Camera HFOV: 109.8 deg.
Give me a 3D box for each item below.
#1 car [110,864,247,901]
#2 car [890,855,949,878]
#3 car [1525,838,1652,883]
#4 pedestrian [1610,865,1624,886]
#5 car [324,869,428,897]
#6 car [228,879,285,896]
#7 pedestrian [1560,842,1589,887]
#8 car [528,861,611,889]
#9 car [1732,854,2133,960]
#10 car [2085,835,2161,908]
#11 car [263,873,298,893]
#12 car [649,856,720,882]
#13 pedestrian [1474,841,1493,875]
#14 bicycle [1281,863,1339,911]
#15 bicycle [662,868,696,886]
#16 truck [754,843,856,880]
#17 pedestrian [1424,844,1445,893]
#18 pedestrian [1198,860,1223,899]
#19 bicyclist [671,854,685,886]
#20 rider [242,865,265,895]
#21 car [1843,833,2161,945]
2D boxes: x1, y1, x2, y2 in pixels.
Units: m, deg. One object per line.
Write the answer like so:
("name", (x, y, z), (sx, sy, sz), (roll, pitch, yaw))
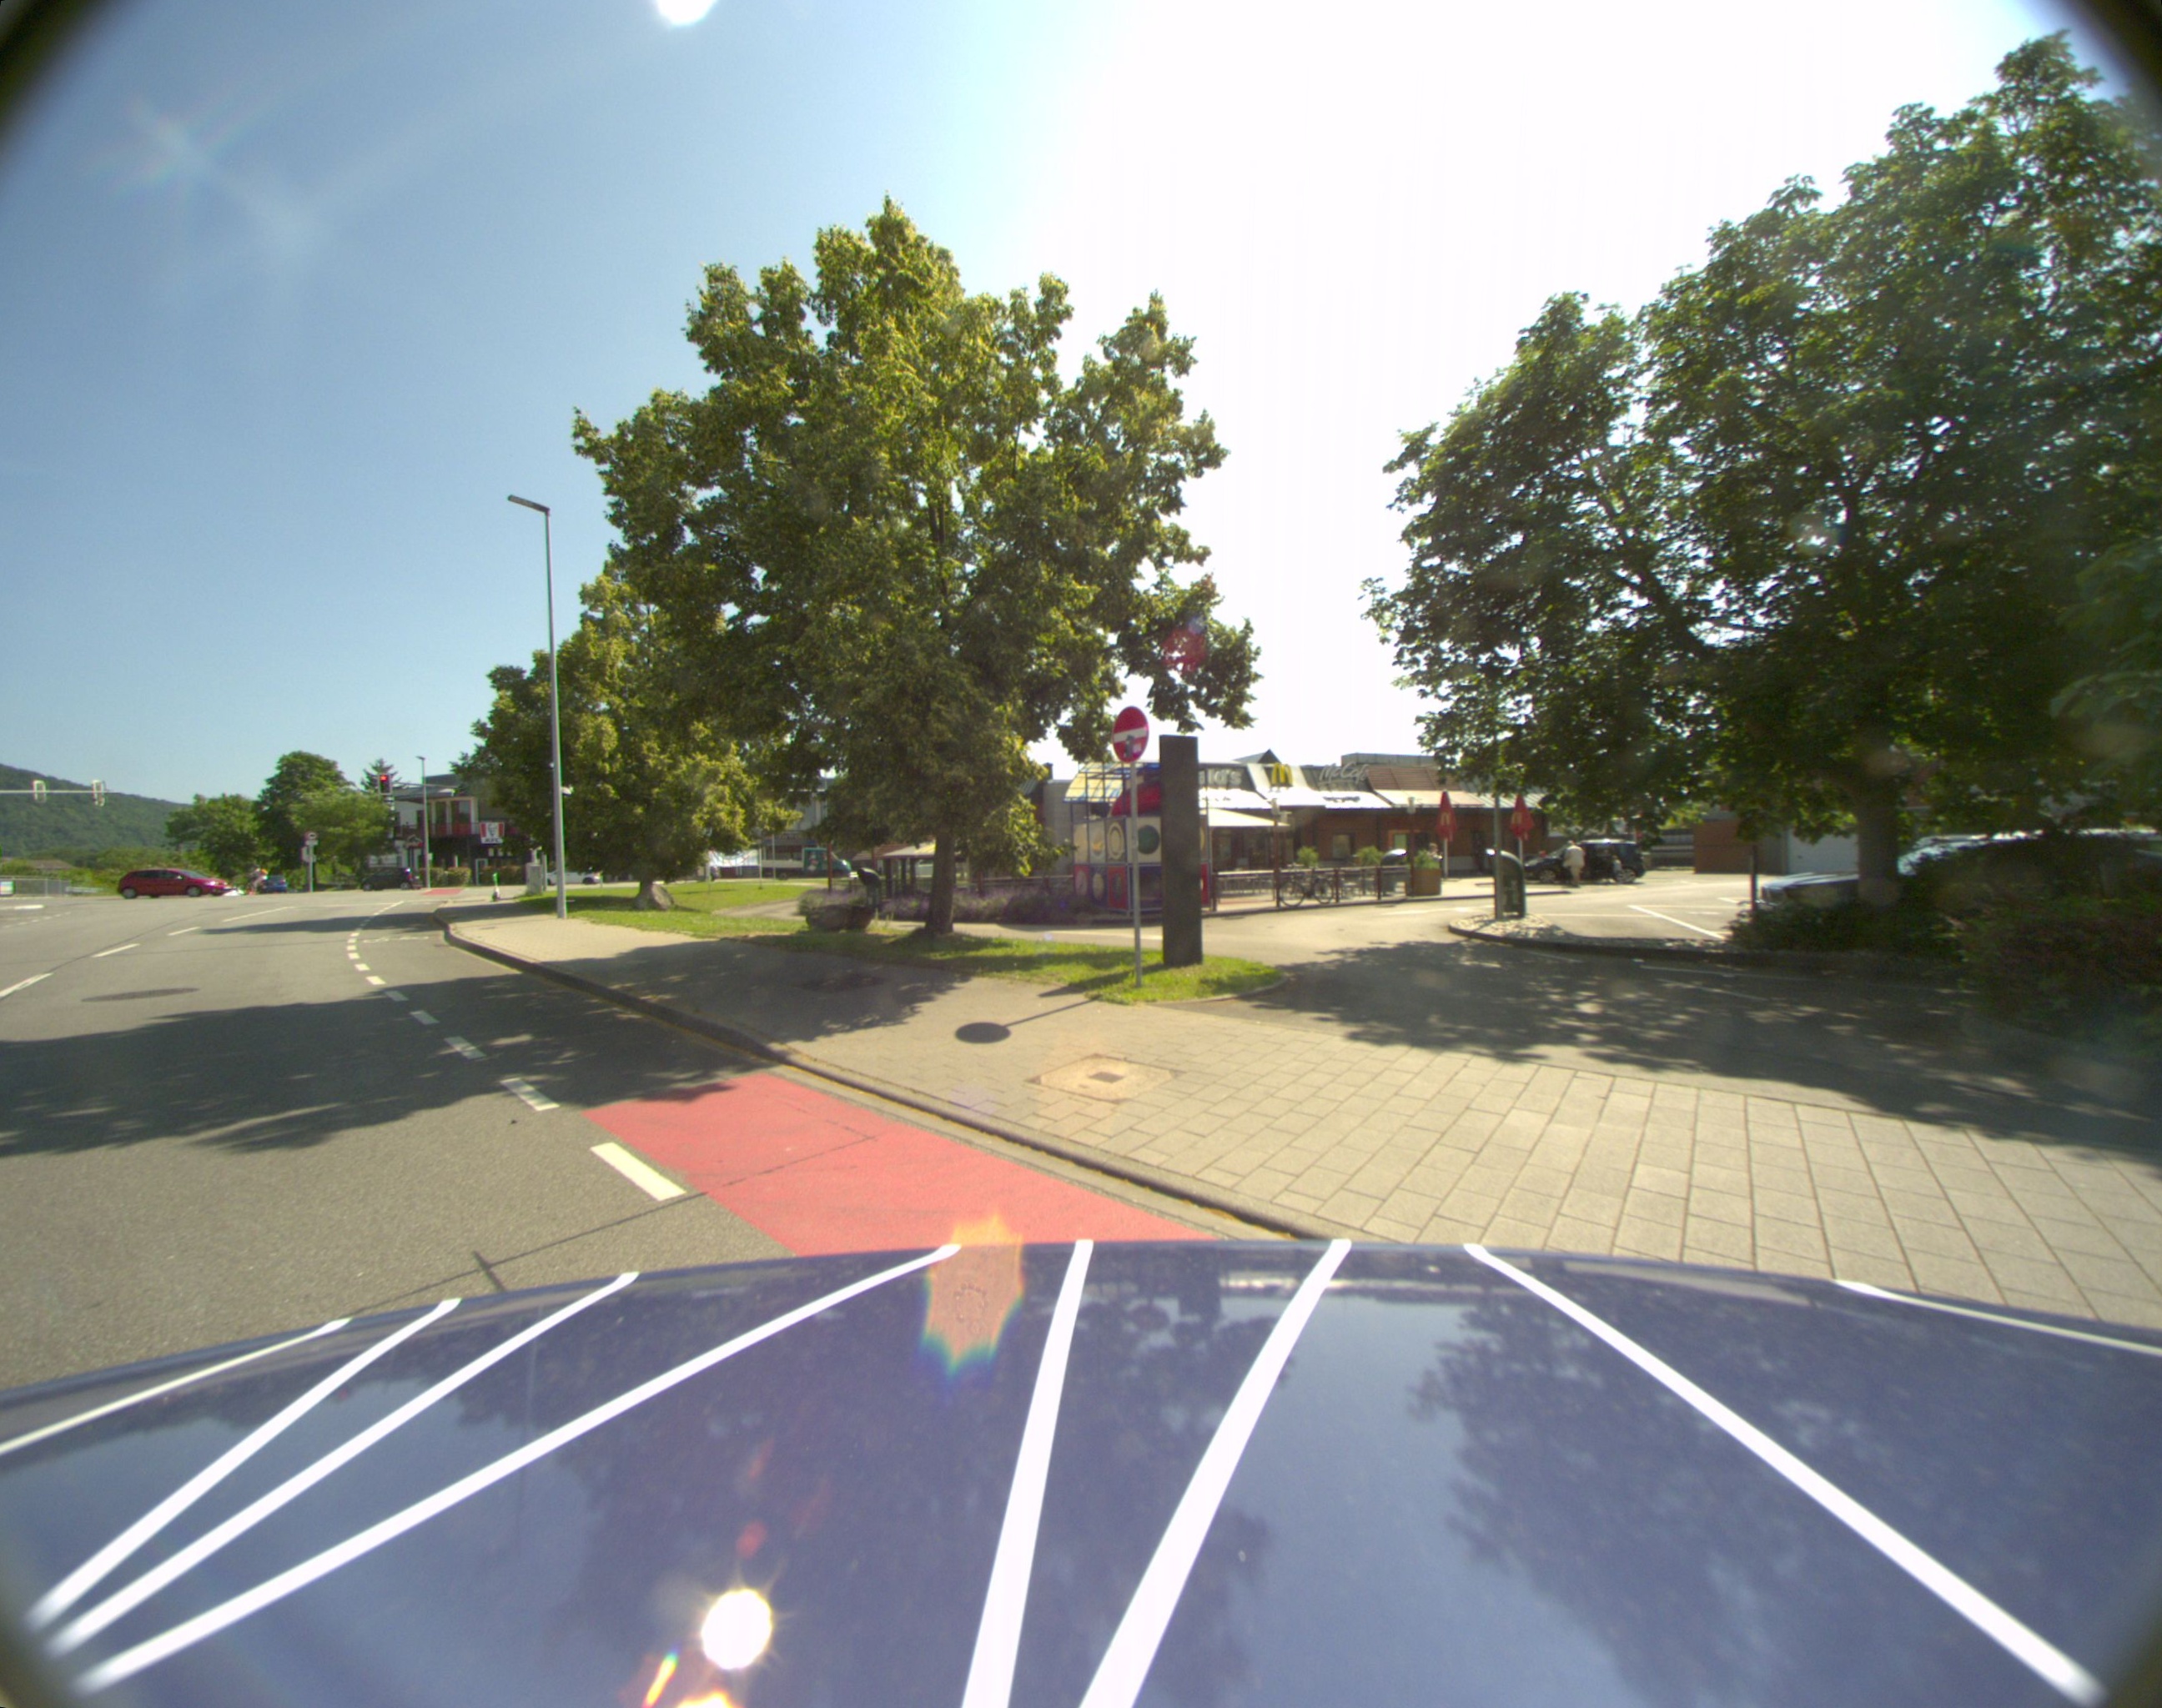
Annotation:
("car", (-49.128, 1.518, 41.499), (4.375, 1.670, 1.827), (-1, 4, -23))
("car", (-12.989, 0.980, 61.100), (4.375, 1.618, 1.827), (-1, 4, -22))
("car", (19.742, 0.254, 29.794), (3.989, 1.648, 1.959), (-1, 1, 29))
("pedestrian", (19.912, 0.793, 28.234), (0.363, 0.775, 0.336), (-1, 1, 29))
("car", (-44.166, 1.806, 47.717), (4.375, 1.483, 1.827), (-1, 4, -22))
("car", (-51.899, 2.107, 47.845), (2.385, 0.897, 0.574), (-1, 4, -22))
("pedestrian", (18.142, 0.374, 27.964), (0.831, 1.628, 0.790), (-1, 1, 29))
("car", (-34.883, 1.391, 51.941), (4.375, 1.618, 1.827), (-1, 4, -22))
("car", (13.268, 0.781, 12.164), (3.992, 1.485, 1.658), (-1, 1, 17))
("car", (26.106, 0.359, 17.201), (3.714, 1.623, 1.671), (-1, 1, 26))
("car", (-65.678, 2.373, 62.328), (3.672, 1.527, 1.614), (-1, 1, 39))
("car", (-28.451, 1.044, 54.678), (4.375, 1.618, 1.827), (-1, 4, -22))
("pedestrian", (19.982, 0.189, 37.731), (0.624, 1.642, 0.541), (-1, 1, -22))
("bicycle", (6.243, 0.888, 20.660), (1.613, 1.180, 0.309), (-3, 4, -19))
("bicycle", (-24.548, 1.409, 46.396), (1.727, 1.037, 0.581), (-1, 3, -21))
("truck", (-18.896, 0.478, 52.116), (6.394, 2.361, 2.380), (-1, 0, -23))
("pedestrian", (11.555, 0.479, 24.832), (0.595, 1.558, 0.572), (-1, 2, 27))
("pedestrian", (4.382, 0.862, 25.653), (0.552, 1.204, 0.591), (-6, 5, -16))
("bicyclist", (-24.601, 0.968, 46.352), (0.658, 1.886, 0.551), (-1, 3, -21))
("rider", (-51.987, 1.635, 47.742), (0.686, 1.804, 0.546), (-2, 4, -22))
("car", (16.728, 0.592, 13.472), (4.219, 1.788, 1.762), (-1, 1, 17))
